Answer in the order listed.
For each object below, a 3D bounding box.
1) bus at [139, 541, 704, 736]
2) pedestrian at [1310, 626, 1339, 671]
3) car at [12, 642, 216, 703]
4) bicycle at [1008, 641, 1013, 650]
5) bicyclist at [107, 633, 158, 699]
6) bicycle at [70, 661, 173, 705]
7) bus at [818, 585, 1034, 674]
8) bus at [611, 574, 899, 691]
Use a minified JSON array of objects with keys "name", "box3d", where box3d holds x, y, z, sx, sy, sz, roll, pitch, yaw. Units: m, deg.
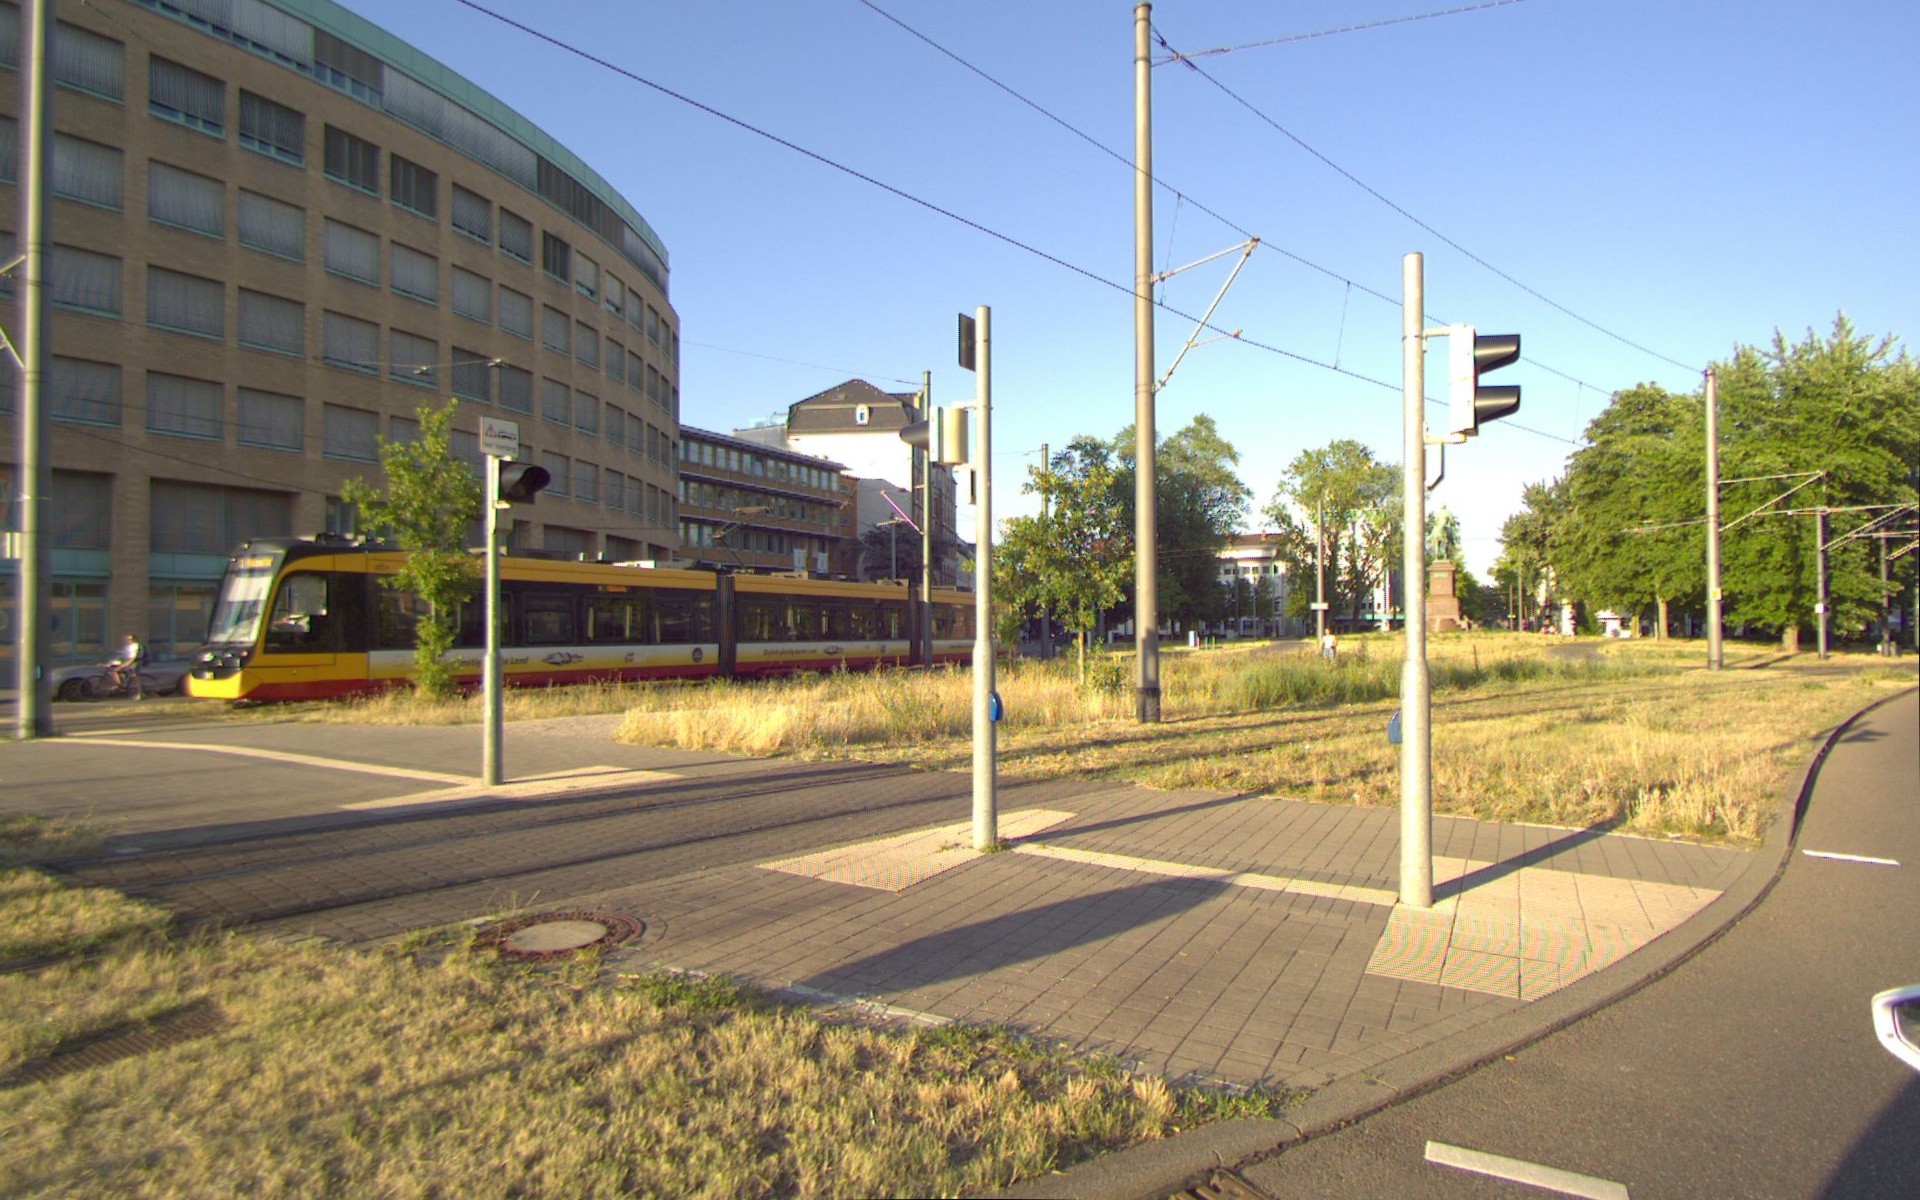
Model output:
[{"name":"bus","box3d":[-11.757,0.795,24.314,3.691,3.501,12.117,0,-1,27]},{"name":"pedestrian","box3d":[12.358,1.627,34.058,0.694,1.478,0.664,1,-1,-42]},{"name":"car","box3d":[-23.976,2.022,28.614,1.965,1.575,3.992,0,-3,32]},{"name":"bicycle","box3d":[6.093,5.461,121.304,0.463,1.024,2.203,0,-1,6]},{"name":"bicyclist","box3d":[-22.082,1.748,26.801,0.821,1.683,0.792,0,0,27]},{"name":"bicycle","box3d":[-22.178,2.175,26.608,0.430,1.081,2.065,0,-1,28]},{"name":"bus","box3d":[-0.944,1.232,45.270,3.691,3.407,13.698,0,-1,26]},{"name":"bus","box3d":[-6.482,1.022,34.452,3.692,3.375,10.721,0,-1,28]}]
